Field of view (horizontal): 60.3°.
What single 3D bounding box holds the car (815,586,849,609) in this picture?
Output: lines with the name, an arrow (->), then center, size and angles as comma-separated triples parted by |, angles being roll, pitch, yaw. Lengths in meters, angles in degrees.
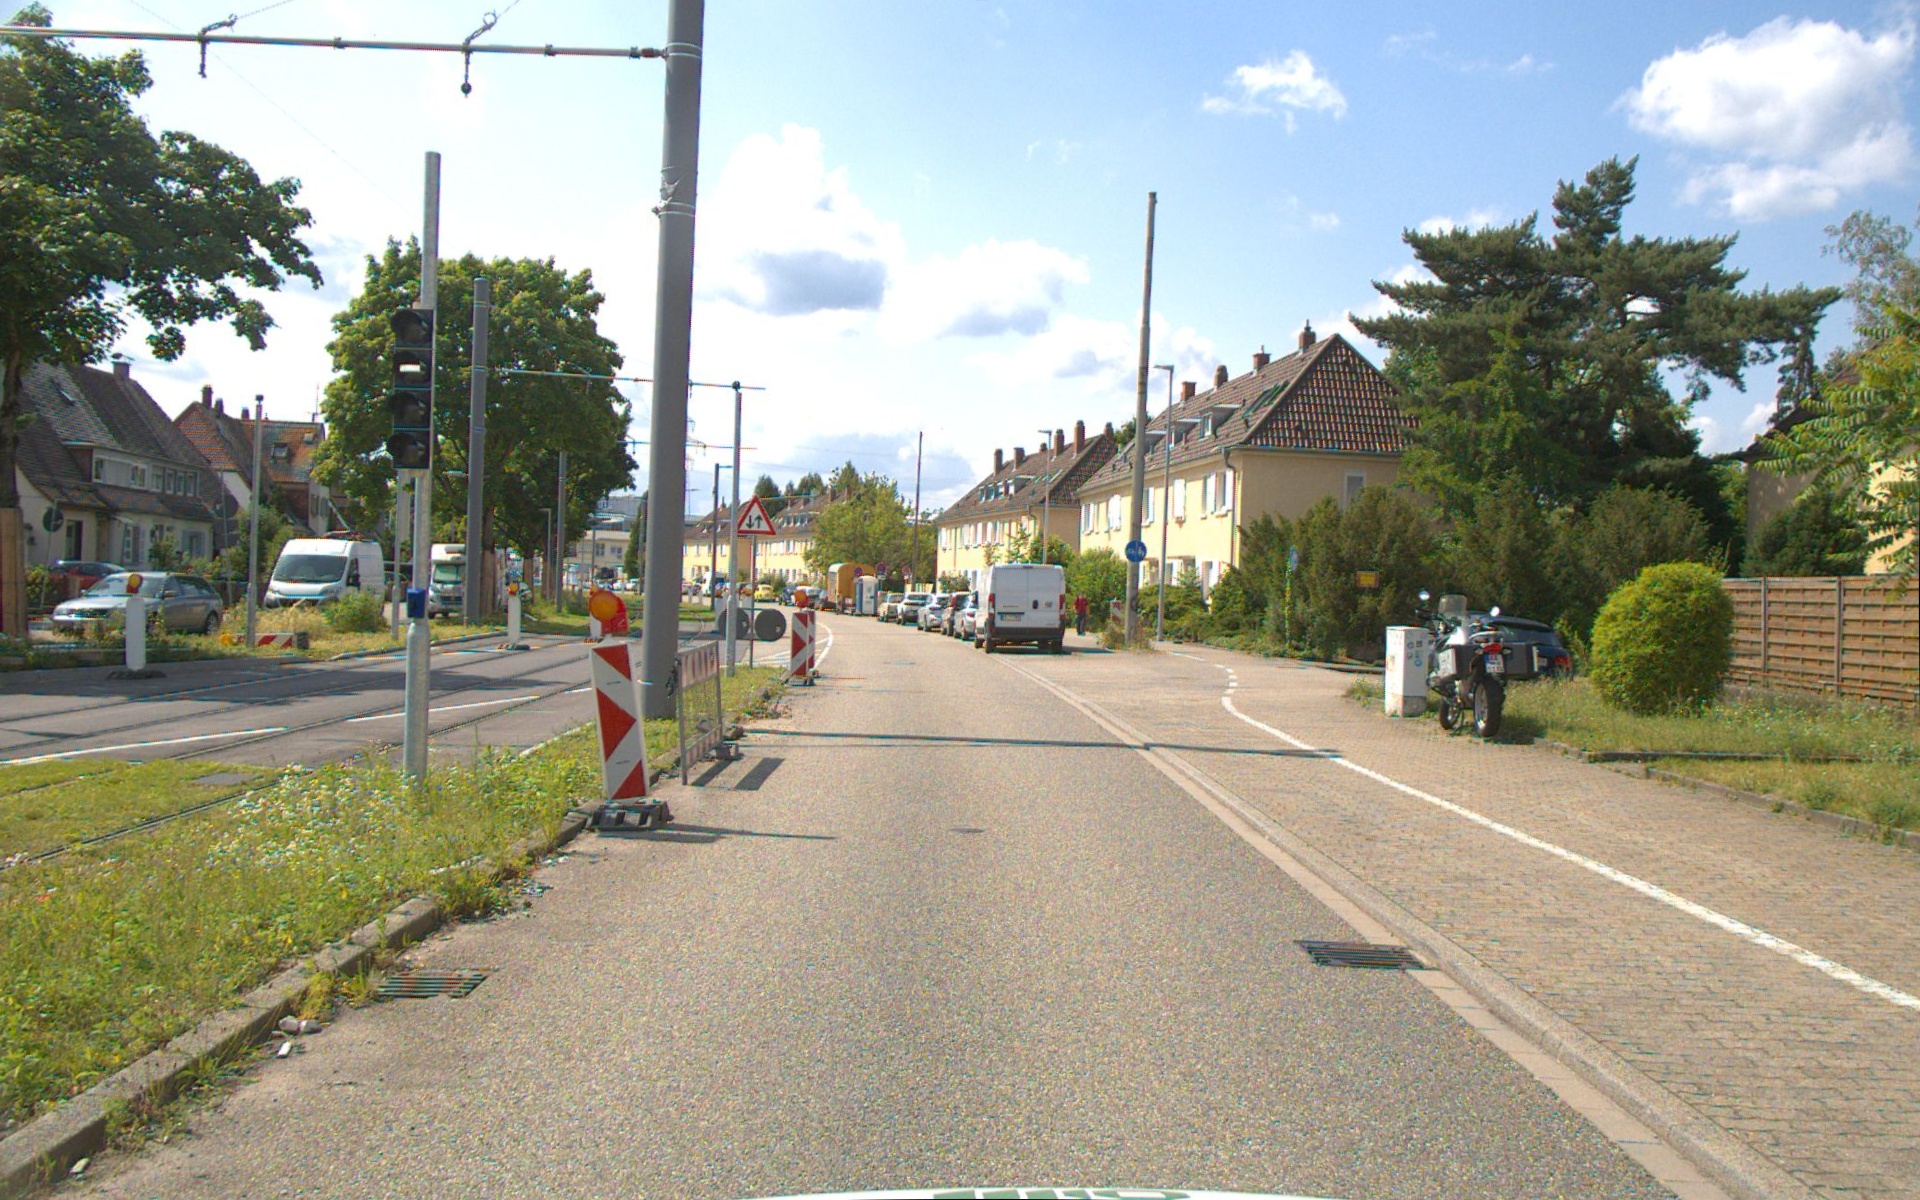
car -> -8.712, -0.170, 112.367 | 1.551, 1.474, 4.437 | 2, 0, -14

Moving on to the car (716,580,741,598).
car -> -21.777, -1.029, 155.544 | 1.612, 1.630, 4.007 | 2, 1, -19

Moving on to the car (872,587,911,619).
car -> -3.431, 0.153, 82.500 | 1.436, 1.528, 4.099 | 1, 0, -10

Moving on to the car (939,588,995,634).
car -> 0.219, 0.362, 58.824 | 1.596, 1.577, 3.805 | 1, 0, -5

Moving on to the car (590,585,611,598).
car -> -40.836, -0.980, 187.918 | 1.643, 1.474, 3.931 | -1, 1, -23

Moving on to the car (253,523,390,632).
car -> -17.148, -0.593, 44.683 | 2.111, 2.715, 4.910 | 2, 0, -5

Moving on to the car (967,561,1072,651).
car -> 1.492, 0.116, 44.563 | 2.231, 2.221, 6.364 | 1, 0, -3

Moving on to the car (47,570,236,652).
car -> -16.459, 0.184, 33.522 | 1.659, 1.490, 4.752 | 2, 0, -3

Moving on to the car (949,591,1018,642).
car -> 0.735, 0.515, 53.944 | 1.675, 1.530, 4.248 | 1, 0, -7

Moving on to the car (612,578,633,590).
car -> -41.813, -1.980, 204.884 | 1.741, 1.464, 3.970 | 0, 1, -24

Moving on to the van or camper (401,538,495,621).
van or camper -> -19.846, -0.788, 64.466 | 2.331, 3.022, 7.282 | 1, 0, -8

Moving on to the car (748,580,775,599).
car -> -17.046, -0.941, 141.857 | 1.611, 1.508, 3.913 | -1, 2, -17

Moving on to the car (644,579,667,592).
car -> -35.020, -1.684, 190.334 | 1.741, 1.441, 3.970 | 0, 1, -24

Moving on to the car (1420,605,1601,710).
car -> 9.188, 0.911, 27.955 | 1.606, 1.404, 4.289 | 2, 2, 1

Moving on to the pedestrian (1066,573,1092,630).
pedestrian -> 4.272, 0.051, 59.545 | 0.758, 2.049, 0.760 | 2, 0, -6

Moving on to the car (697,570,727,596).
car -> -24.797, -1.708, 165.174 | 1.901, 2.524, 5.484 | 1, 1, -21

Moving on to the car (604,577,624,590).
car -> -43.882, -2.111, 209.531 | 1.741, 1.528, 3.970 | 0, 1, -24

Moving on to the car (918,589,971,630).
car -> -0.652, 0.346, 64.762 | 1.716, 1.524, 4.380 | 1, 0, -5

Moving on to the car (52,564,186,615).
car -> -27.741, -0.328, 54.646 | 3.548, 1.548, 1.668 | 2, 0, -7

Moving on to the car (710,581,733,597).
car -> -23.073, -1.050, 160.131 | 1.513, 1.470, 3.716 | 2, 1, -19

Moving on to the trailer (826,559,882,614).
trailer -> -6.714, -0.874, 104.147 | 2.644, 3.283, 5.065 | 2, 0, -13

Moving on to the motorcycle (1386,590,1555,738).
motorcycle -> 5.558, 0.650, 18.224 | 1.026, 1.496, 2.585 | -1, 0, 0

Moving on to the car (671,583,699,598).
car -> -29.487, -1.024, 177.027 | 1.776, 1.483, 4.728 | -1, 1, -25

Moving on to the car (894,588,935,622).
car -> -2.136, 0.217, 76.381 | 1.499, 1.507, 3.803 | 1, 0, -8

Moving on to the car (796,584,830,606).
car -> -10.670, -0.355, 119.974 | 1.678, 1.474, 4.817 | 2, 0, -14

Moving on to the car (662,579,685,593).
car -> -31.509, -1.530, 182.088 | 1.599, 1.441, 3.970 | 0, 1, -24
